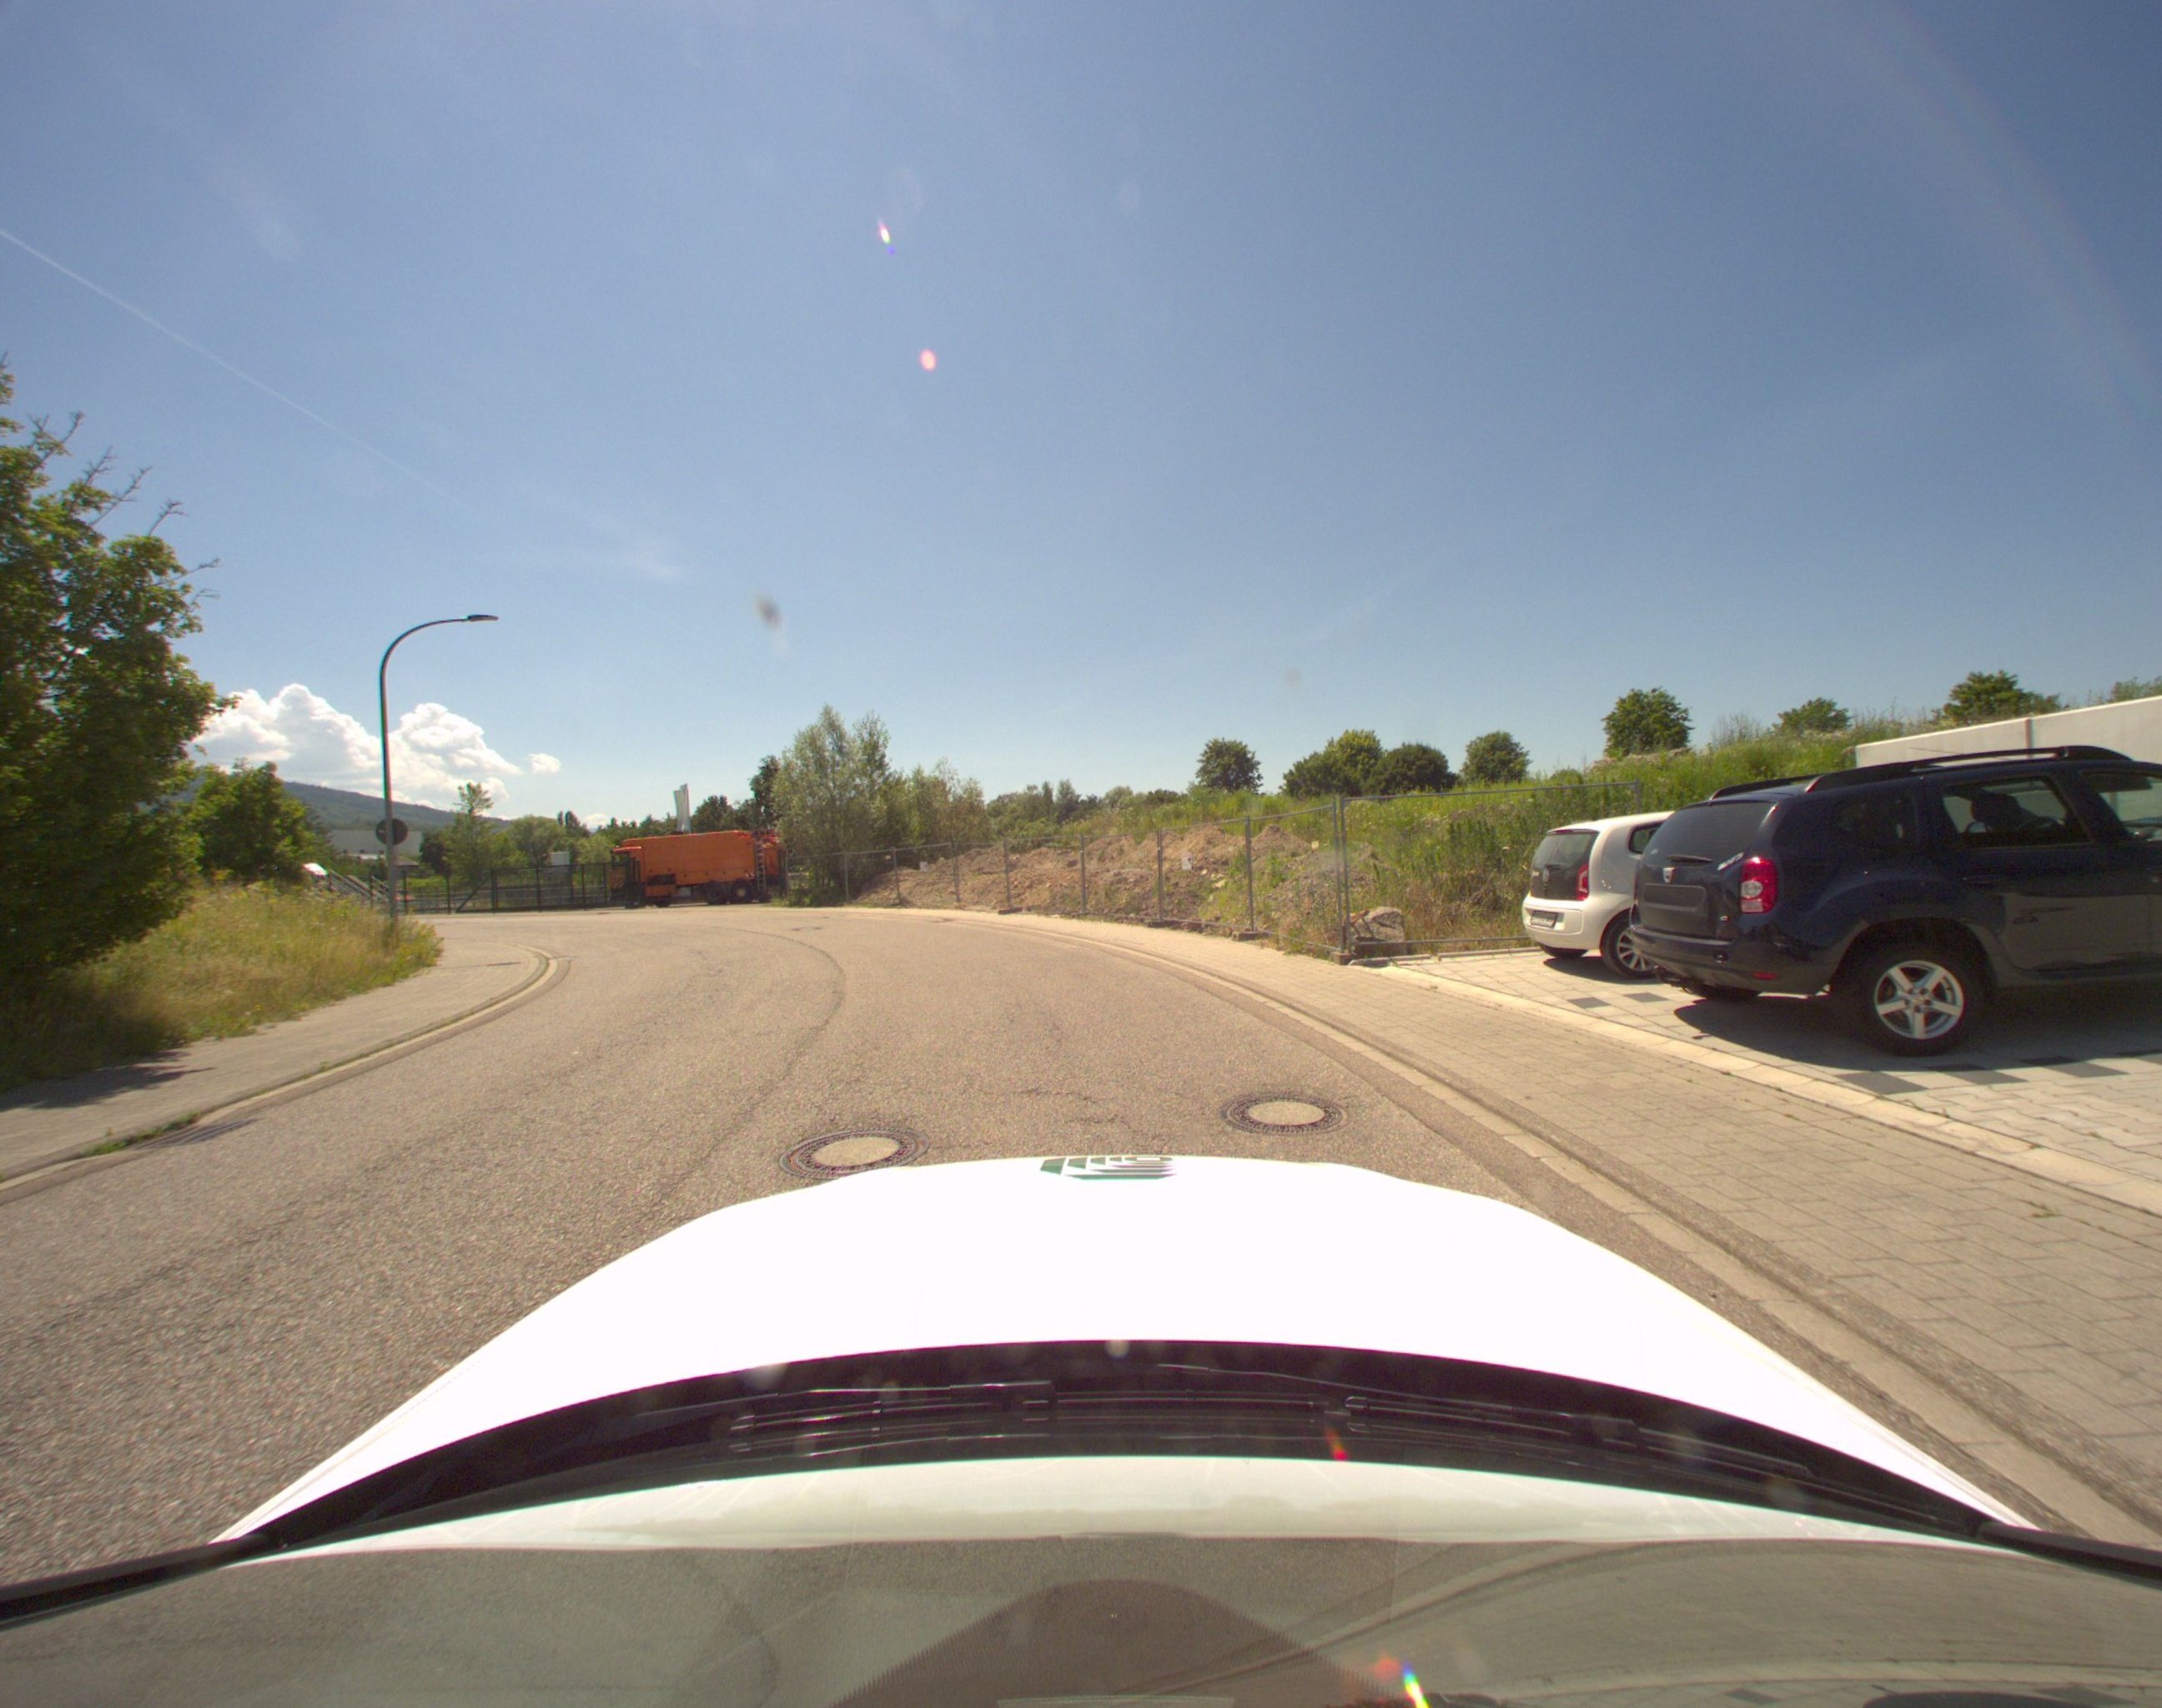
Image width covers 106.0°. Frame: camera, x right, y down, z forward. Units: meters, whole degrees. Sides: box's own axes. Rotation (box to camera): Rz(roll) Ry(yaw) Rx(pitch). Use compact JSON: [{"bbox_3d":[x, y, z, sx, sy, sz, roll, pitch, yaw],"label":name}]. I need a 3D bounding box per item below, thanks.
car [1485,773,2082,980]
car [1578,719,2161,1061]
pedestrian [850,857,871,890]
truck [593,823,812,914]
[{"bbox_3d":[6.463,0.219,7.997,3.988,1.462,1.897,-5,0,7],"label":"car"},{"bbox_3d":[5.900,0.106,5.324,3.988,1.655,1.862,-7,-1,8],"label":"car"},{"bbox_3d":[-12.695,1.120,46.842,0.871,1.825,0.741,-2,0,7],"label":"pedestrian"},{"bbox_3d":[-18.340,0.685,39.965,8.543,3.806,4.170,-3,0,4],"label":"truck"}]
